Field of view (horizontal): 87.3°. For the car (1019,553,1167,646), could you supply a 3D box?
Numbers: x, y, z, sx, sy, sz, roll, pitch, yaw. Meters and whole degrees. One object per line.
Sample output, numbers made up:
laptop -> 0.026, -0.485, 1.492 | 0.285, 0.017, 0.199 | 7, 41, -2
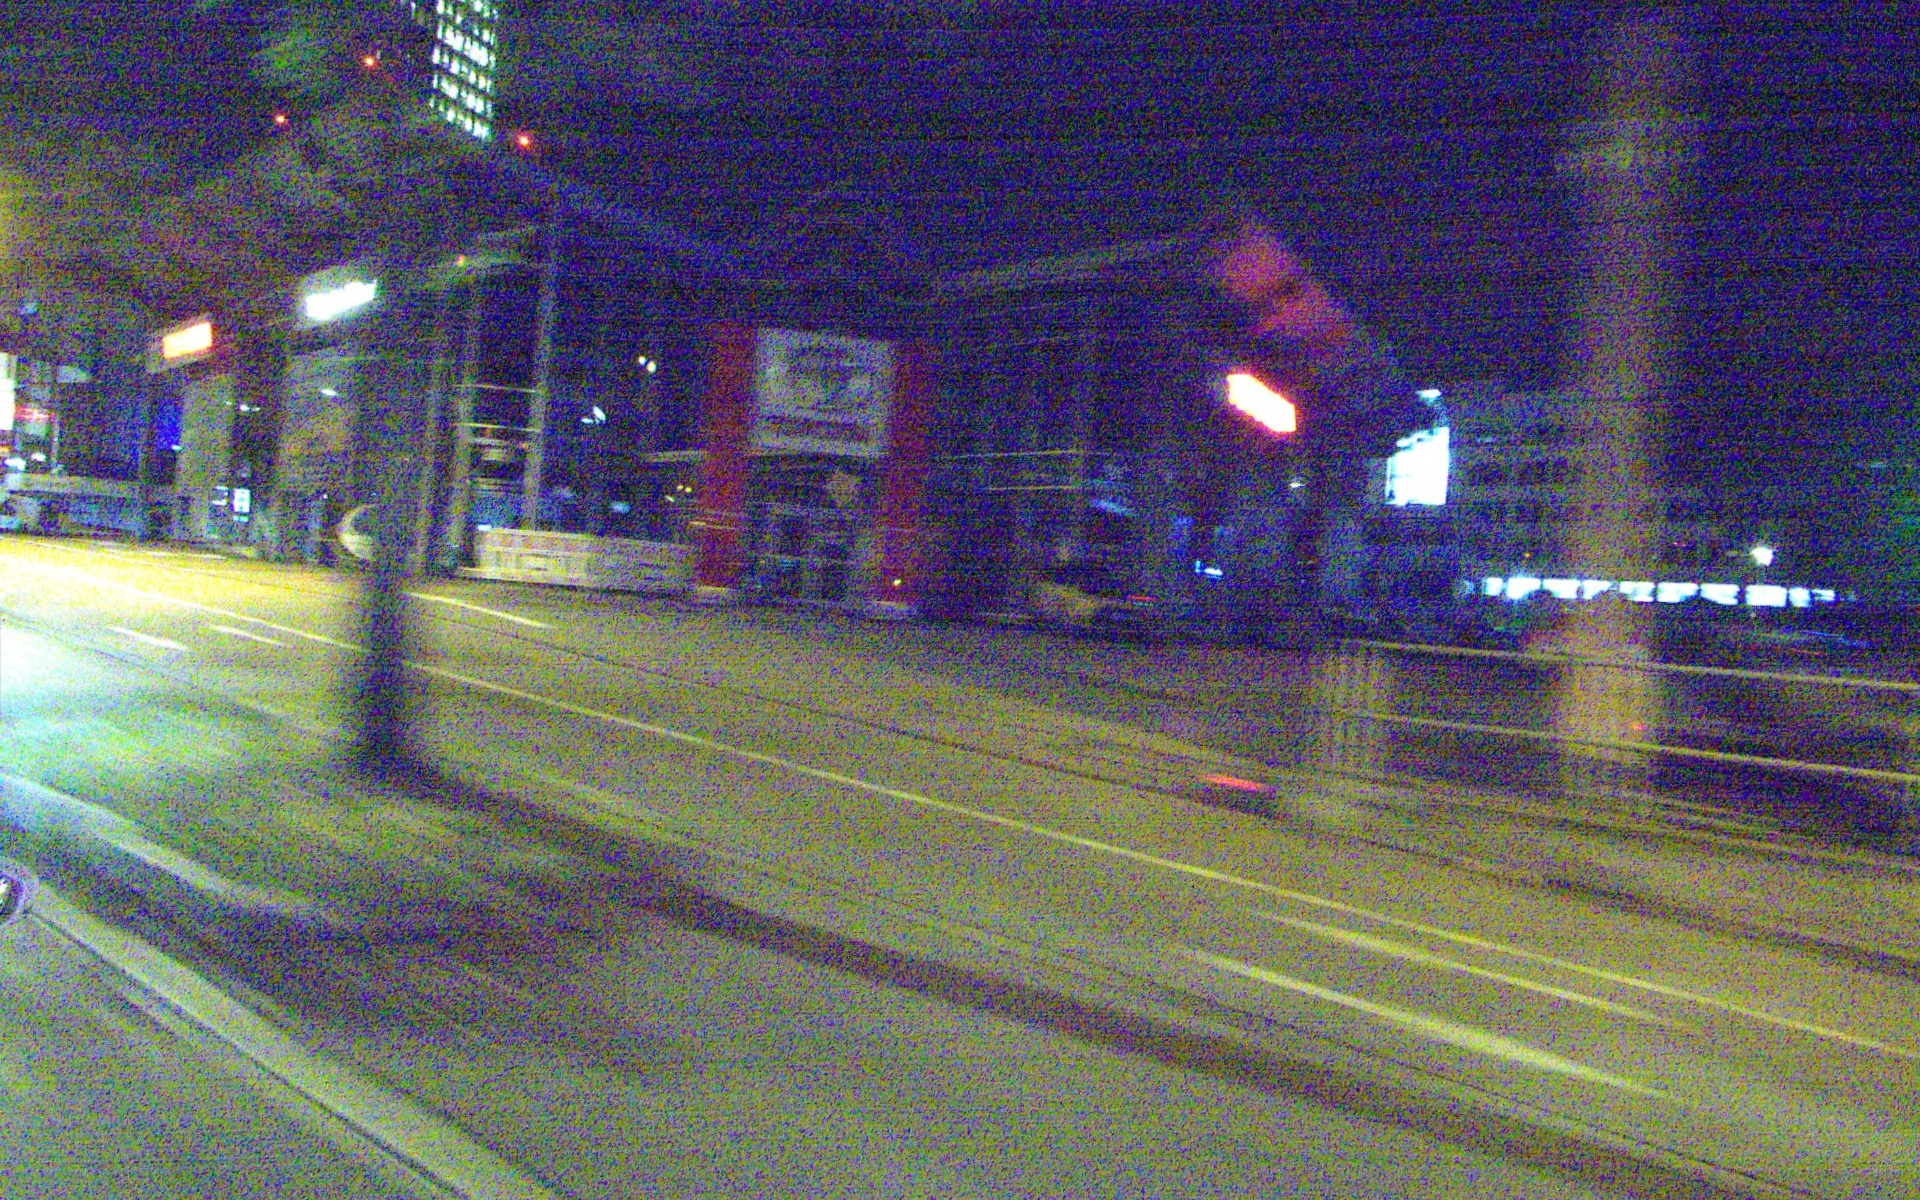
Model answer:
car -> 2.622, -0.083, 20.771 | 1.706, 1.548, 3.770 | 3, 4, -14

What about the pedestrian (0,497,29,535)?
pedestrian -> -28.504, -2.514, 29.904 | 0.899, 1.051, 0.769 | 6, 0, -15

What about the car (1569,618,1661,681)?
car -> 19.055, 1.415, 29.208 | 1.780, 1.588, 3.980 | 5, 1, 38

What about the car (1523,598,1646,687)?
car -> 12.738, 0.863, 20.533 | 1.837, 1.509, 3.988 | 5, 0, 33

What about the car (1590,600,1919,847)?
car -> 6.949, 0.825, 7.775 | 1.707, 1.509, 3.841 | 3, 1, 1

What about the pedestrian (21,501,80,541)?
pedestrian -> -27.915, -2.420, 30.881 | 0.757, 1.019, 1.002 | 6, -2, 16
